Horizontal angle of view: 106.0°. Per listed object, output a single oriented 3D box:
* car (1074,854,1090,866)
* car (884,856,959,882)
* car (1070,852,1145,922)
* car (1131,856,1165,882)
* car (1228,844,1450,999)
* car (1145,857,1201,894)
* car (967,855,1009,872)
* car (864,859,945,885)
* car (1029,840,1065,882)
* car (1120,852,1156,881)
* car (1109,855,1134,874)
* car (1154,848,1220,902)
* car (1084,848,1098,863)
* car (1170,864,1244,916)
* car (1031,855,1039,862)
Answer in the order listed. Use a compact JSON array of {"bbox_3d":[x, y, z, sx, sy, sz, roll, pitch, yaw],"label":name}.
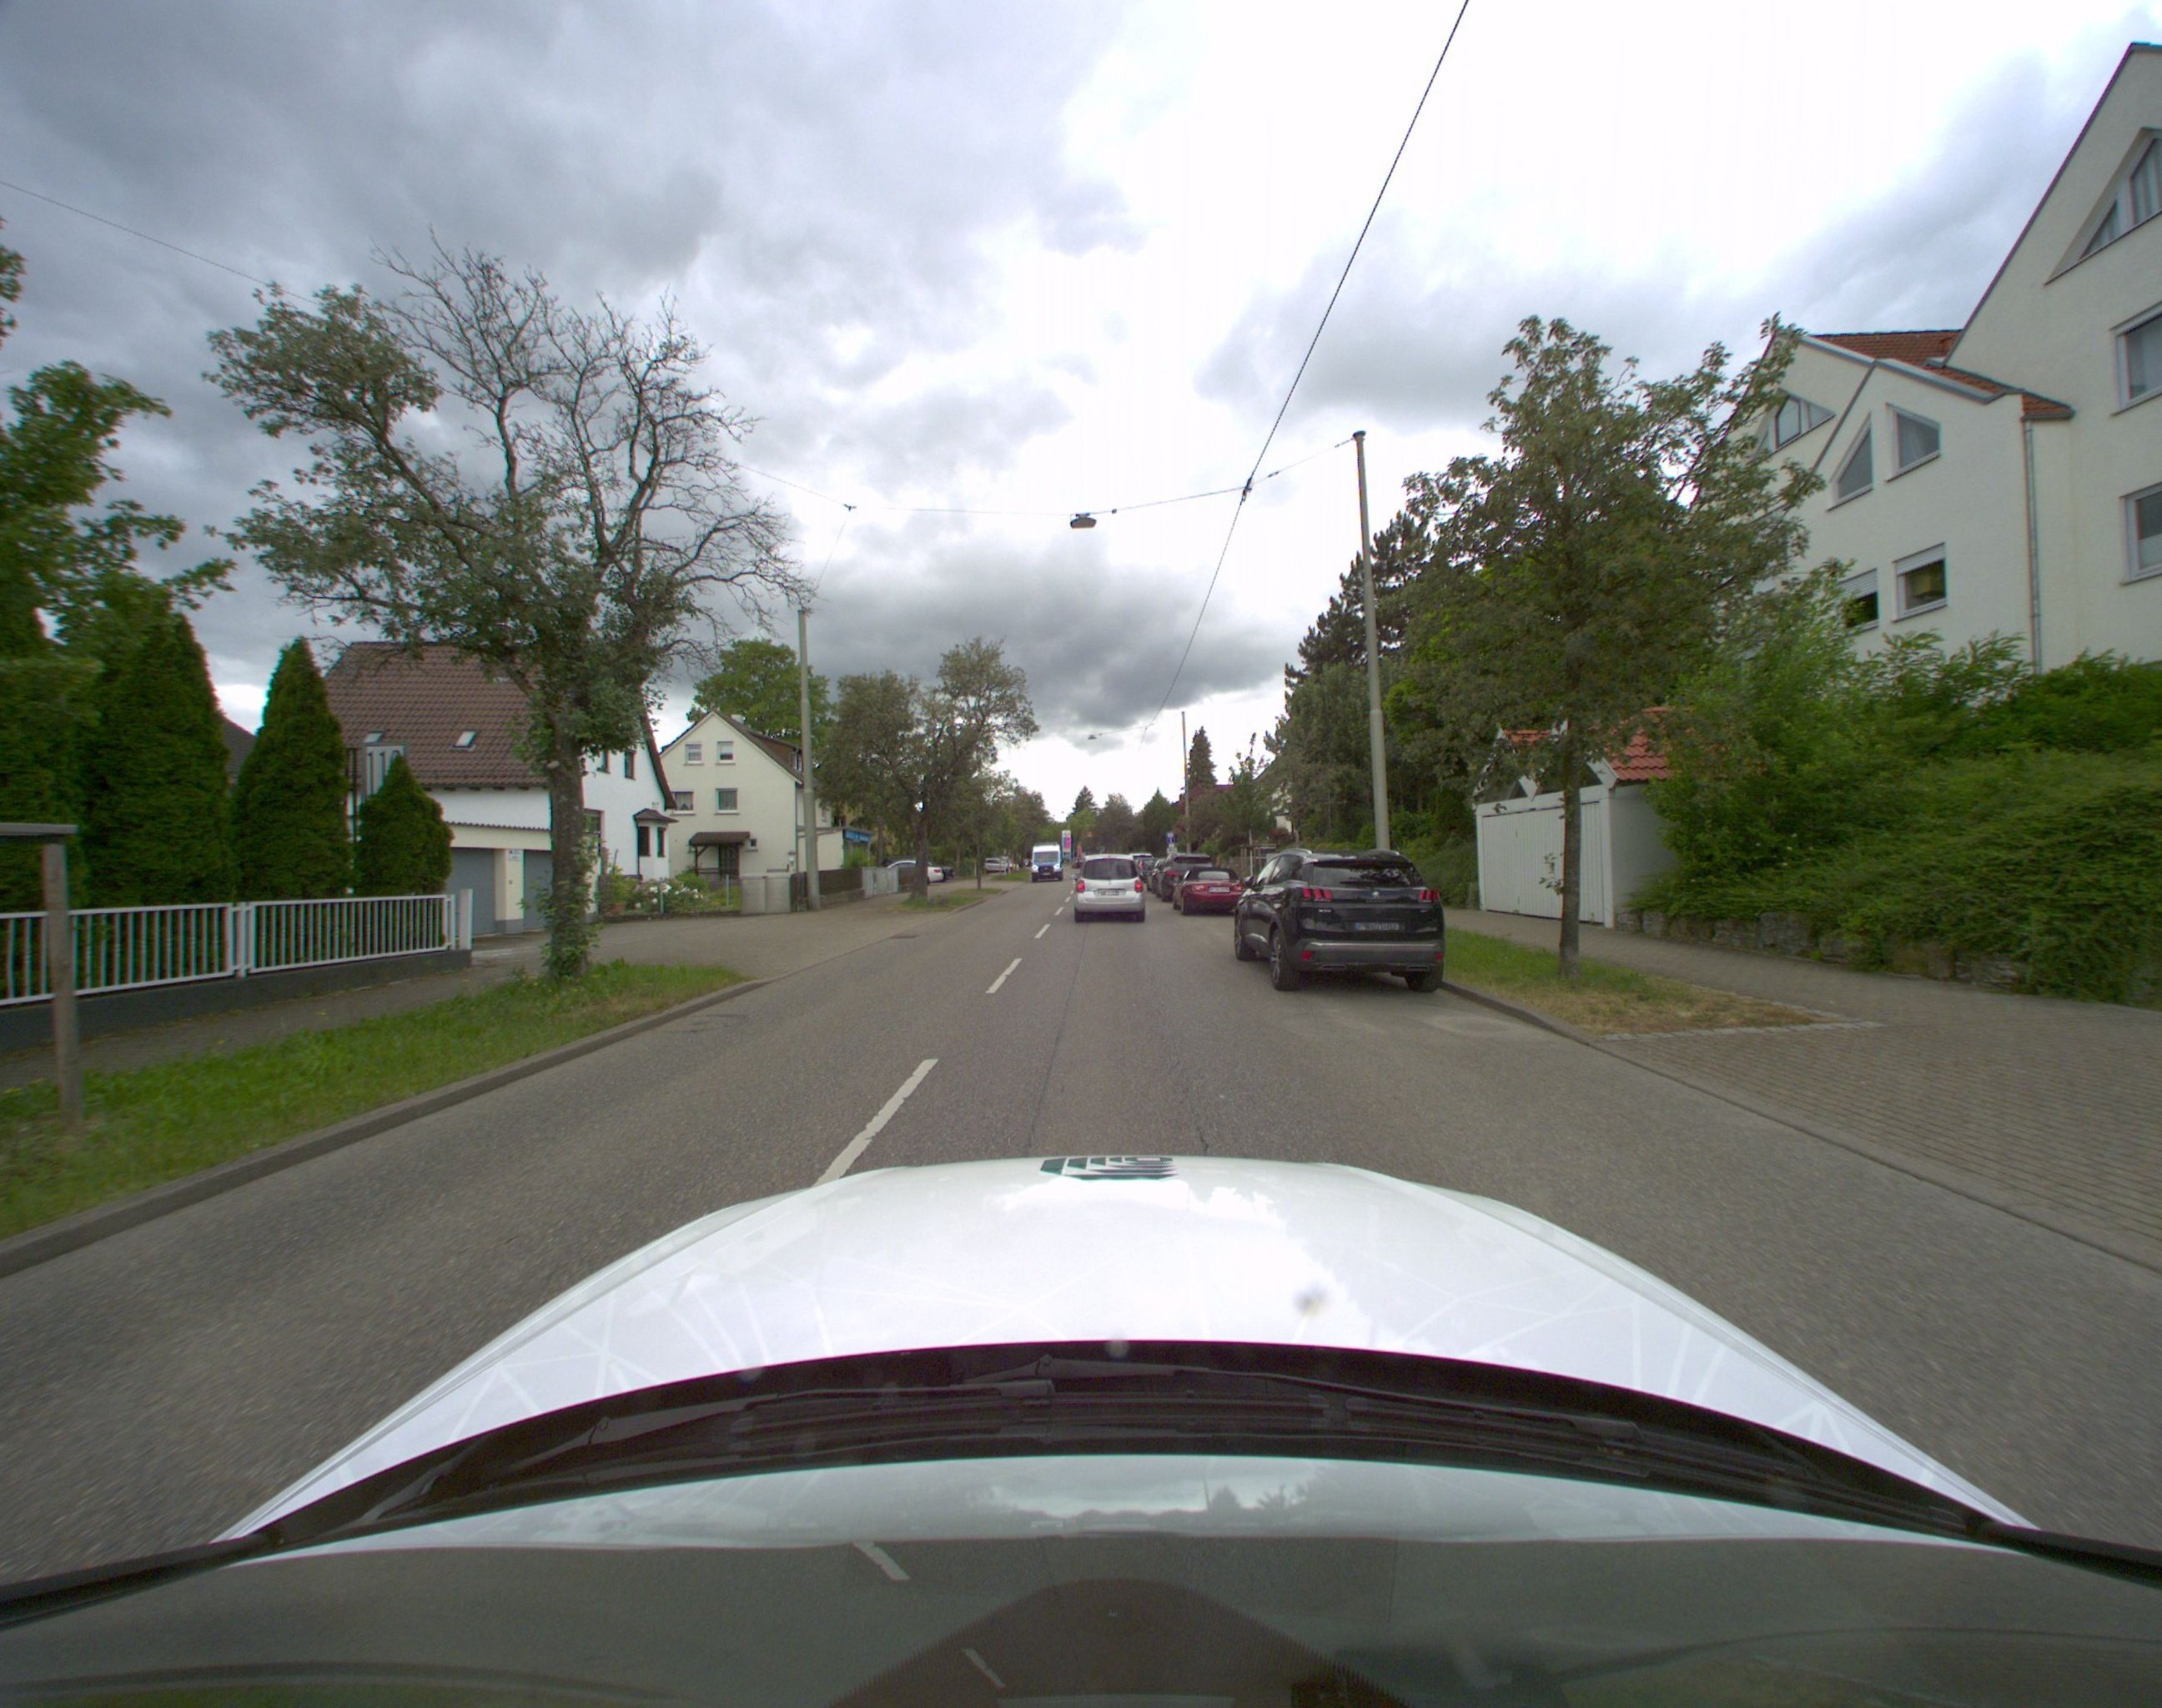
[{"bbox_3d":[0.152,0.833,113.945,1.694,1.506,3.962,-1,0,-7],"label":"car"},{"bbox_3d":[-10.113,0.933,51.846,4.317,1.618,1.974,0,-1,1],"label":"car"},{"bbox_3d":[0.672,0.747,20.119,1.673,1.560,3.513,-1,0,2],"label":"car"},{"bbox_3d":[3.867,0.839,47.567,1.554,1.443,3.503,0,0,-3],"label":"car"},{"bbox_3d":[3.072,0.715,10.587,1.682,1.609,4.110,0,0,1],"label":"car"},{"bbox_3d":[3.779,0.849,34.137,1.824,1.457,4.550,0,0,0],"label":"car"},{"bbox_3d":[-9.514,0.993,83.727,4.074,1.706,1.747,0,-1,-1],"label":"car"},{"bbox_3d":[-9.919,0.995,46.065,4.272,1.368,1.812,1,-1,-6],"label":"car"},{"bbox_3d":[-2.276,0.445,55.411,2.066,2.582,5.299,-3,0,0],"label":"car"},{"bbox_3d":[3.625,0.786,52.853,1.795,1.778,4.700,0,0,-3],"label":"car"},{"bbox_3d":[3.343,0.854,67.965,1.623,1.452,3.871,-1,0,-3],"label":"car"},{"bbox_3d":[3.646,0.679,28.705,1.823,1.712,4.550,1,0,1],"label":"car"},{"bbox_3d":[1.902,0.364,159.633,2.277,2.911,5.270,0,-1,-5],"label":"car"},{"bbox_3d":[3.340,0.917,22.195,1.476,1.236,3.885,1,0,1],"label":"car"},{"bbox_3d":[-10.063,1.013,178.413,1.543,1.470,3.734,-1,0,-6],"label":"car"}]
